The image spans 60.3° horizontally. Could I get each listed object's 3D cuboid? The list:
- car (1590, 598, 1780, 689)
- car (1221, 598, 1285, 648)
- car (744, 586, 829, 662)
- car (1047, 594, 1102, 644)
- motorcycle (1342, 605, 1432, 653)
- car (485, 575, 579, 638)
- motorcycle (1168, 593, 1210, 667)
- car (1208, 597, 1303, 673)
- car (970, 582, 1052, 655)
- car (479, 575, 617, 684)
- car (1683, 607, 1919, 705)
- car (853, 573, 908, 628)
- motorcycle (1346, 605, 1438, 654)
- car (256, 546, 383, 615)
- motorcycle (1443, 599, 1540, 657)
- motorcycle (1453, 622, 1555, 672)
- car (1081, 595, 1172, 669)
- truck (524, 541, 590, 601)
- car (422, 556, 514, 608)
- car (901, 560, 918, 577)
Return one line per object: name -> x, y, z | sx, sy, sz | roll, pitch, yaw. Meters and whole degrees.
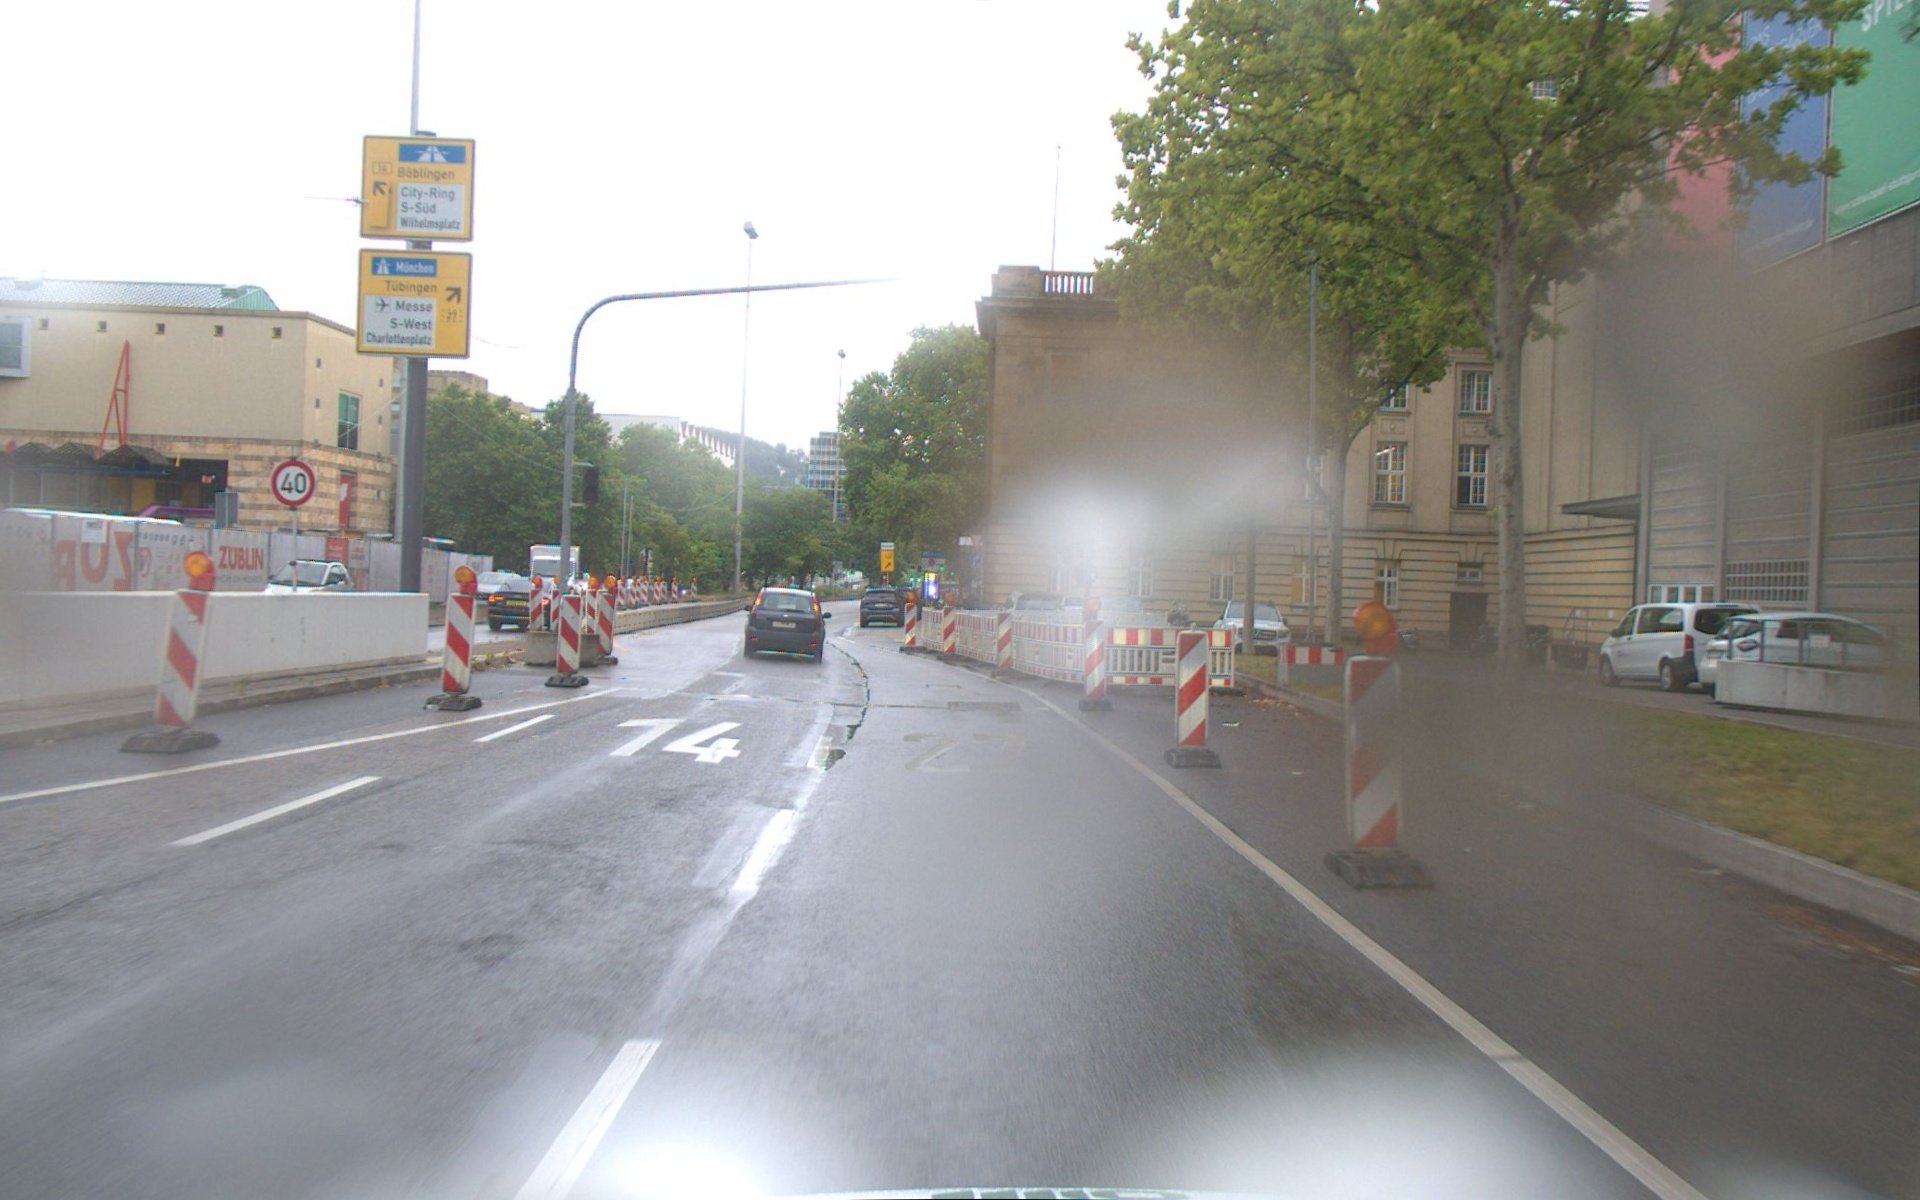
car -> 15.875, 0.946, 36.527 | 1.953, 1.790, 5.096 | 2, -1, 0
car -> 11.330, 0.913, 64.179 | 1.952, 1.738, 4.002 | 3, -1, 4
car -> -3.630, 0.475, 34.767 | 1.637, 1.452, 3.753 | 2, 0, -6
car -> 4.453, 0.716, 64.081 | 1.952, 1.738, 4.002 | 3, 1, 4
motorcycle -> 16.100, 1.085, 62.455 | 3.095, 1.570, 0.890 | 4, -2, 4
car -> -11.295, 0.149, 43.876 | 1.806, 1.434, 3.994 | 4, 1, -7
motorcycle -> 6.013, 0.765, 43.601 | 0.813, 1.862, 3.144 | 2, 0, 4
car -> 7.669, 0.857, 43.284 | 1.952, 1.738, 4.002 | 3, 1, 4
car -> 1.309, 0.450, 44.040 | 1.953, 1.738, 4.000 | 3, 1, -1
car -> -5.729, 0.397, 23.276 | 1.358, 1.411, 3.064 | 2, 0, -5
car -> 14.860, 0.979, 28.573 | 3.905, 1.587, 1.933 | 1, -3, 0
car -> -3.211, -0.010, 67.453 | 1.953, 2.048, 4.000 | 3, 1, -1
motorcycle -> 16.031, 1.094, 61.427 | 3.096, 1.570, 0.890 | 4, -2, 3
car -> -16.051, -0.474, 41.639 | 1.635, 1.548, 3.999 | 4, 0, -1
motorcycle -> 20.240, 1.064, 63.059 | 3.281, 2.049, 1.152 | 2, -2, 1
motorcycle -> 19.869, 1.716, 60.441 | 3.281, 1.558, 1.152 | 4, -2, 2
car -> 4.479, 0.829, 44.953 | 1.953, 1.738, 4.000 | 3, 1, -1
truck -> -18.121, -1.261, 74.600 | 2.369, 2.379, 5.431 | 4, -2, -10
car -> -16.990, -0.591, 57.308 | 1.954, 1.505, 3.998 | 4, -1, -2
car -> -7.067, -4.353, 229.978 | 1.955, 2.049, 3.995 | 4, -2, -5
